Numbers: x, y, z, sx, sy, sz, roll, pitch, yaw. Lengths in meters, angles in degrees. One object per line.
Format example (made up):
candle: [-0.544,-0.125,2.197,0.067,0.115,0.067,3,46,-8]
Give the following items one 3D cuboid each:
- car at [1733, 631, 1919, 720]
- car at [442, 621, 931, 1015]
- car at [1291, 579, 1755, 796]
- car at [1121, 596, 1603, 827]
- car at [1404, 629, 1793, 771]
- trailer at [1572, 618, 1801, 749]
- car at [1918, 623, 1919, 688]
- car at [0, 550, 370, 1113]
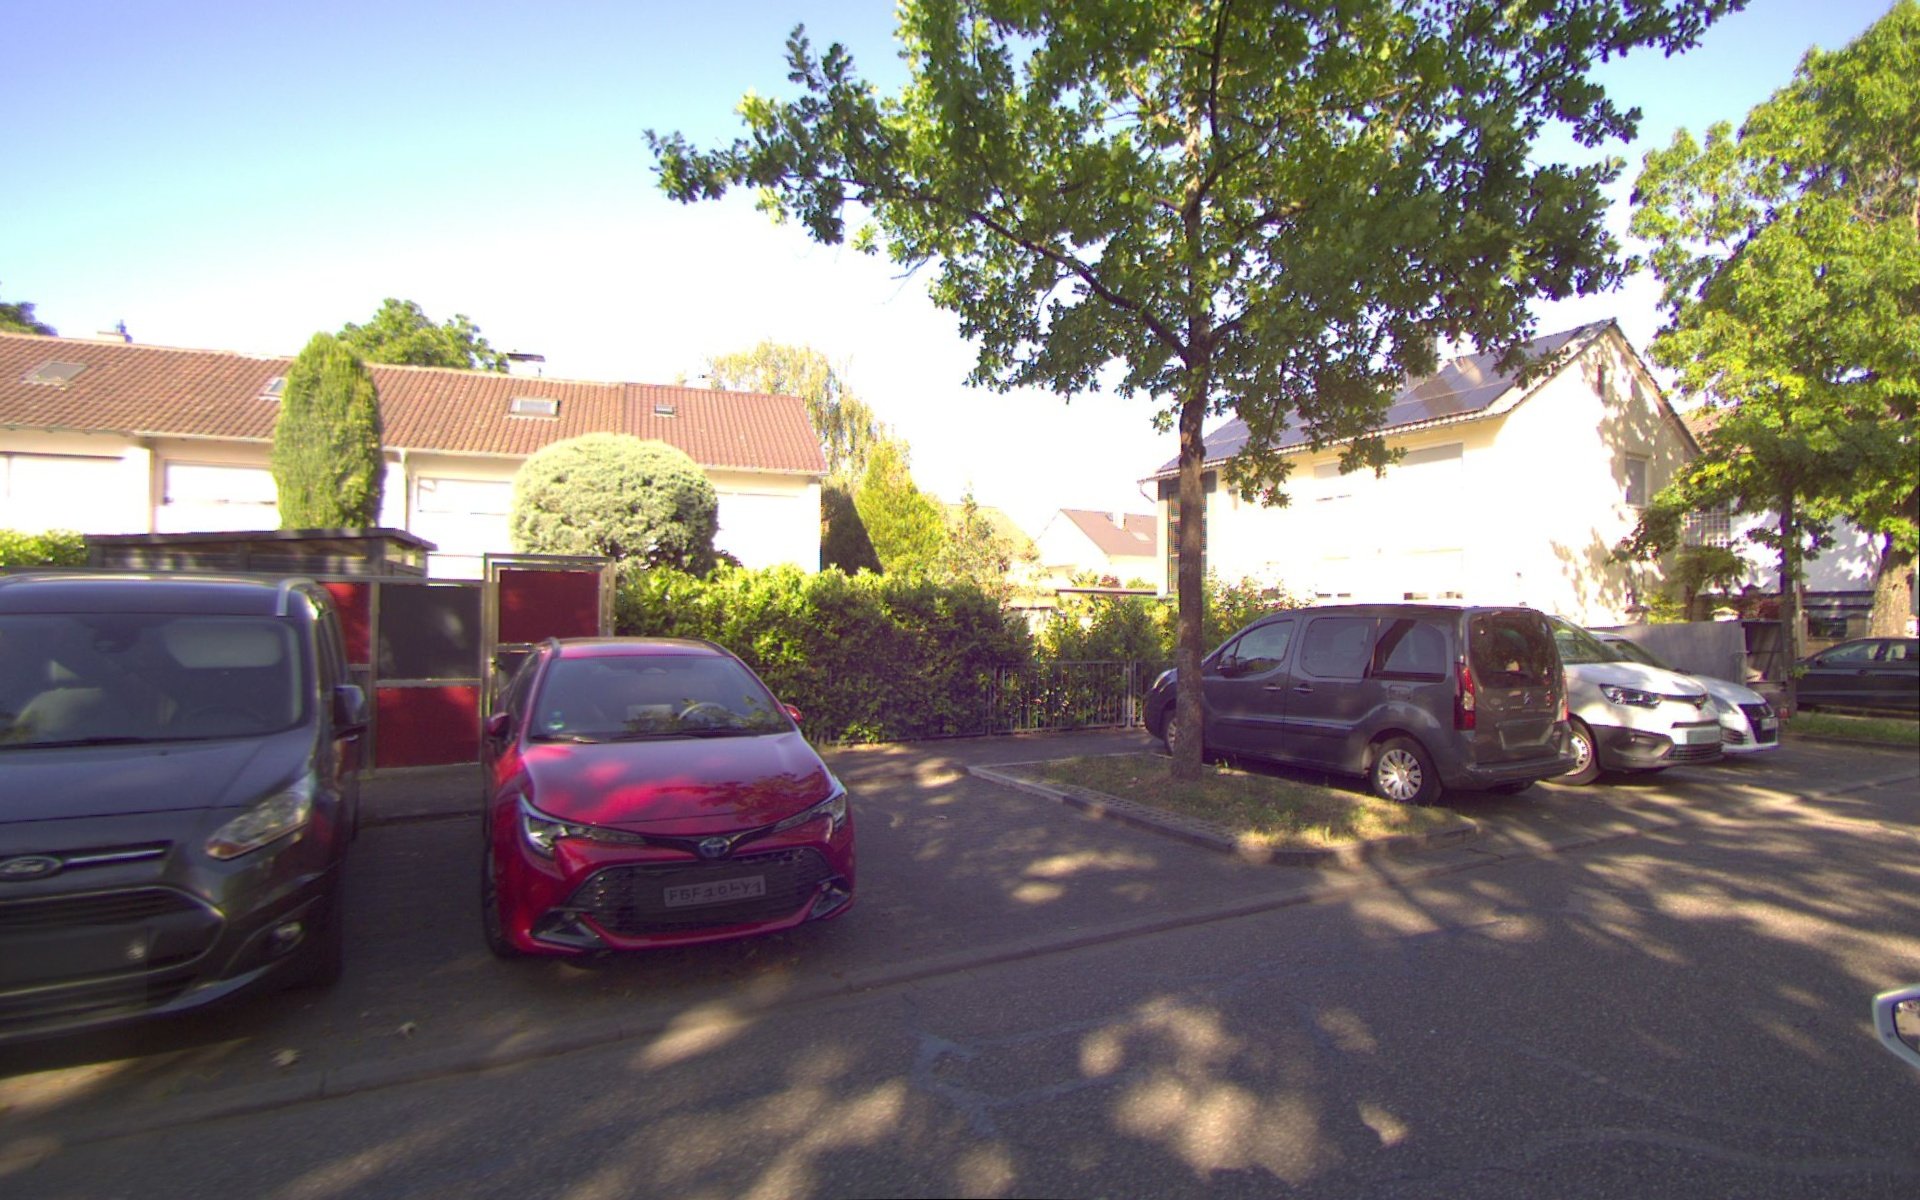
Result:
car: [16.699,1.316,18.004,1.671,1.491,4.189,1,-2,-31]
car: [-2.055,0.914,6.285,1.816,1.519,4.454,1,-2,-31]
car: [6.153,0.882,11.478,1.979,1.969,4.212,2,-3,-33]
car: [3.811,0.887,10.253,1.946,1.794,4.213,1,0,-33]
car: [8.072,1.156,13.081,1.671,1.536,3.967,1,-2,-31]
trailer: [10.264,1.107,14.299,1.455,1.696,2.228,0,-1,-27]
car: [25.396,1.387,23.381,1.770,1.588,4.168,1,0,-30]
car: [-4.132,0.728,5.258,1.774,1.792,4.649,1,0,-31]
